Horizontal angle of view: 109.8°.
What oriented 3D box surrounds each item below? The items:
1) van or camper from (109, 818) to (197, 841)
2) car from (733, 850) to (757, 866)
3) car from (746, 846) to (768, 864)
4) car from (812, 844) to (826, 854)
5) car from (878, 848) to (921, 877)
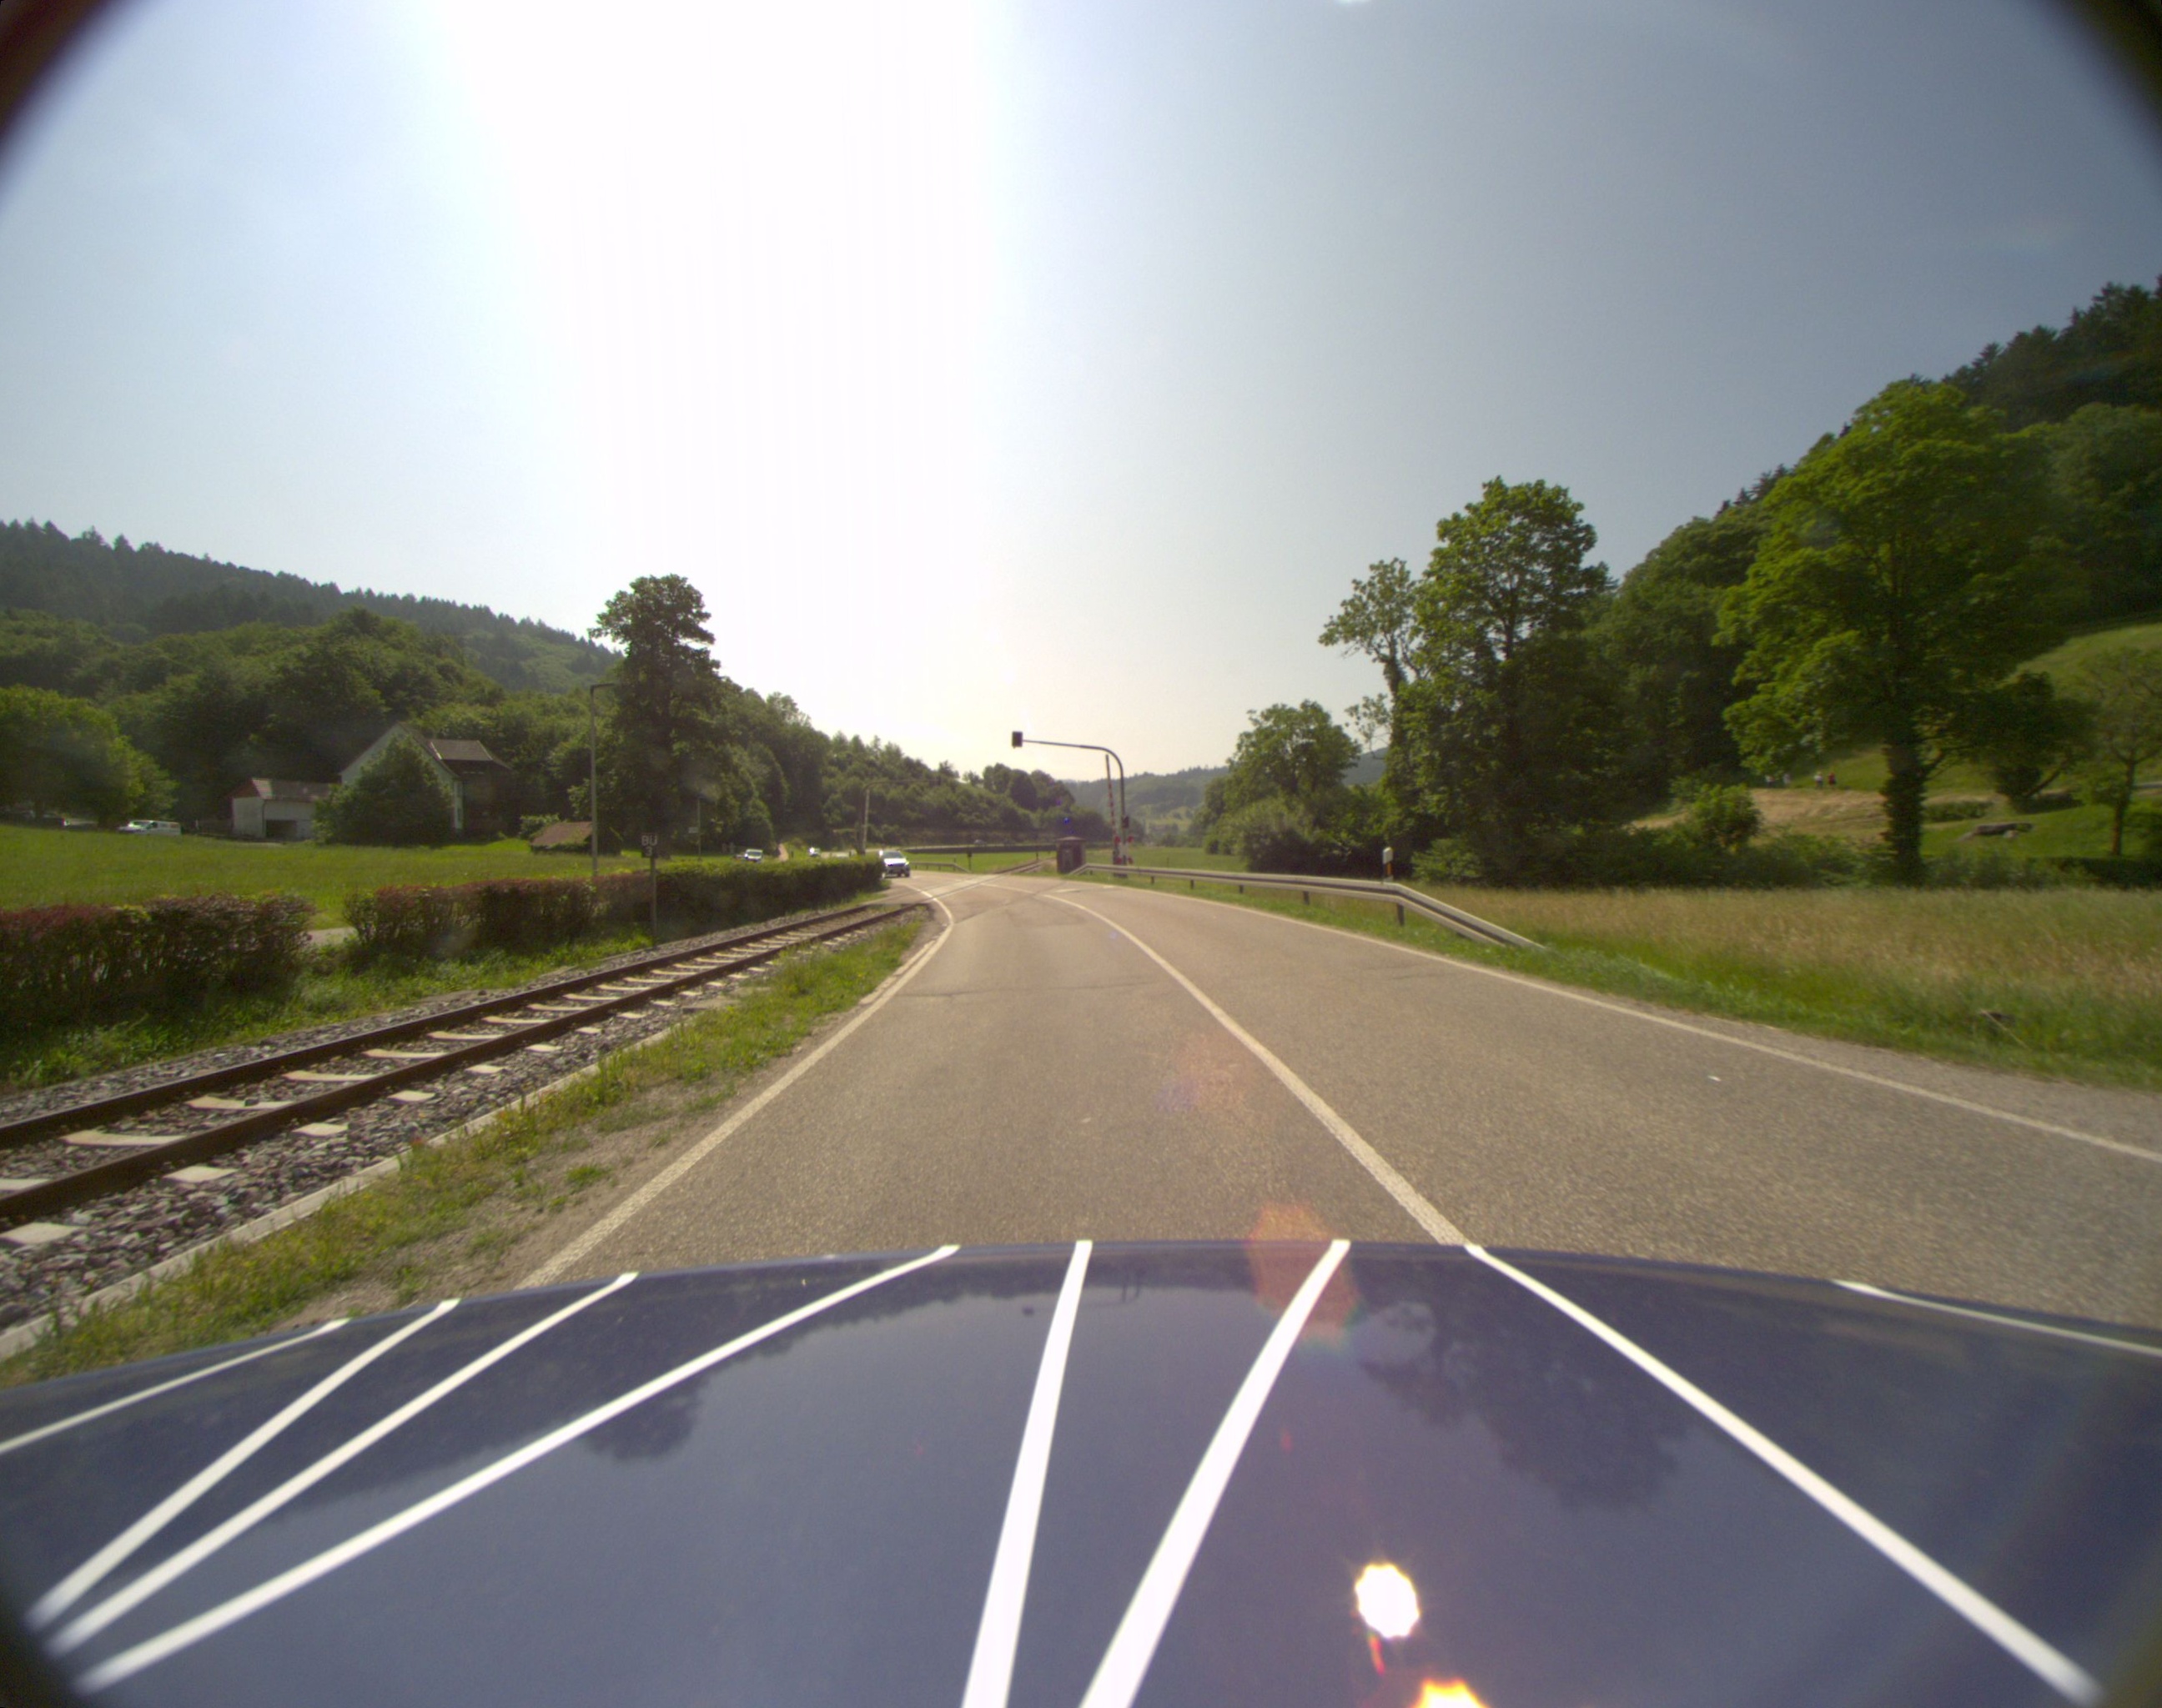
[{"bbox_3d":[-86.393,-2.255,70.864,2.821,1.938,5.426,0,0,-21],"label":"van or camper"},{"bbox_3d":[-35.505,0.409,80.234,1.682,1.448,3.705,2,1,-34],"label":"car"},{"bbox_3d":[-37.722,0.073,88.592,2.008,1.837,4.859,5,-1,-20],"label":"car"},{"bbox_3d":[-47.476,-0.921,137.563,2.001,1.774,3.994,0,1,-14],"label":"car"},{"bbox_3d":[-12.274,0.515,51.138,2.122,1.804,4.446,0,1,-23],"label":"car"}]
